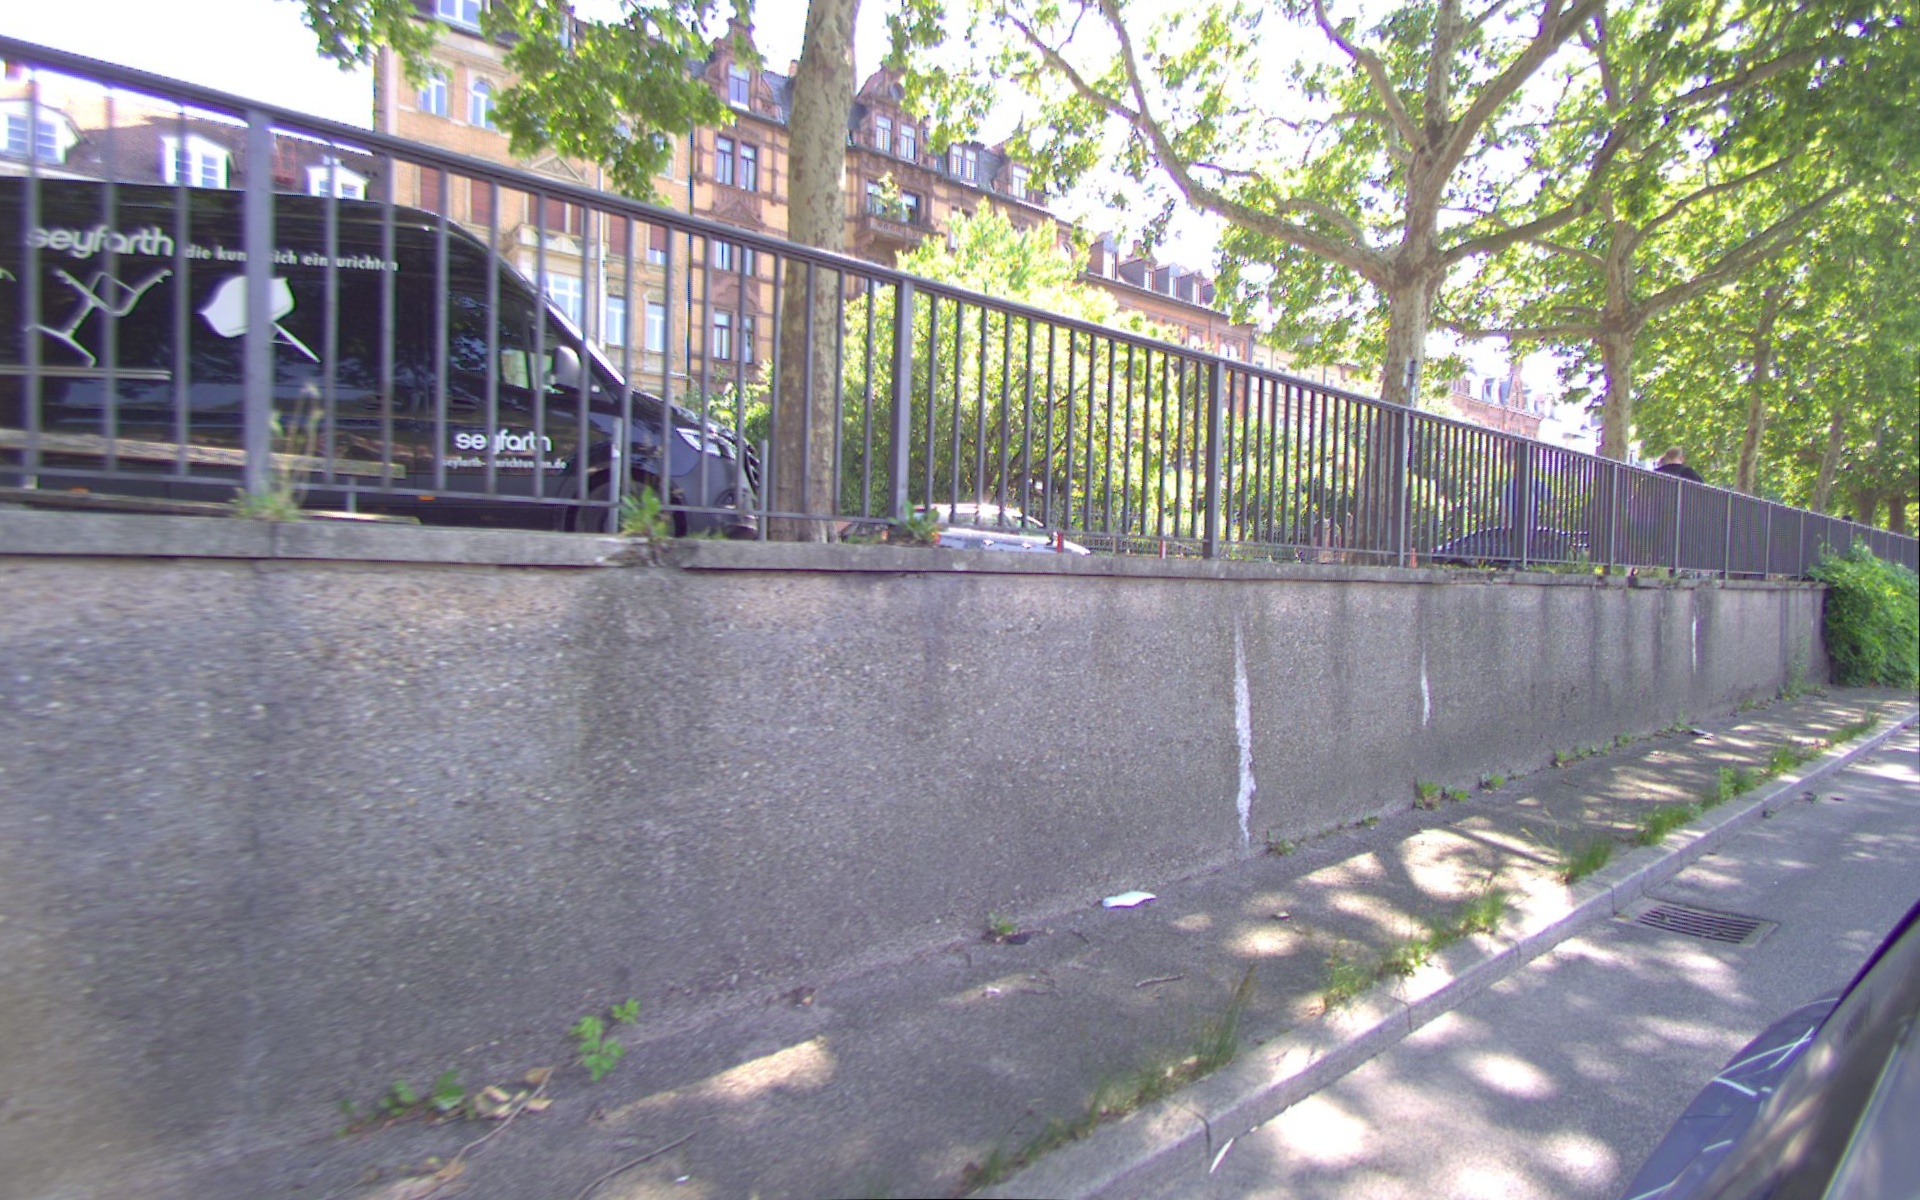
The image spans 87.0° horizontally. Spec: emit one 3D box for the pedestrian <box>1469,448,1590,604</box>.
[{"bbox_3d":[5.583,-0.708,9.924,0.933,1.442,0.682,0,4,-41],"label":"pedestrian"}]

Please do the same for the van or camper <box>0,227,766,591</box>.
[{"bbox_3d":[-5.161,-1.252,7.685,7.205,2.212,2.349,-1,0,-11],"label":"van or camper"}]

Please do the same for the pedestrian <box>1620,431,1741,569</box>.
[{"bbox_3d":[8.943,-1.223,12.571,1.010,1.598,0.938,0,4,-42],"label":"pedestrian"}]

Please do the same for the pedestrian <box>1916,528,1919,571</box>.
[{"bbox_3d":[32.972,-1.705,34.426,0.584,1.437,0.580,2,2,42],"label":"pedestrian"}]

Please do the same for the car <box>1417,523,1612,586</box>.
[{"bbox_3d":[12.363,-1.060,22.771,1.484,1.250,3.541,1,4,-30],"label":"car"}]

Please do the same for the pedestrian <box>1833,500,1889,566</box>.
[{"bbox_3d":[19.596,-1.450,22.018,0.800,1.382,0.754,0,4,-42],"label":"pedestrian"}]

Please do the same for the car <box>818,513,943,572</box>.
[{"bbox_3d":[-2.384,-1.630,29.542,1.759,1.556,3.793,1,1,-40],"label":"car"}]

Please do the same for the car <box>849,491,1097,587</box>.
[{"bbox_3d":[0.308,-1.070,18.653,4.348,1.531,1.842,0,3,-38],"label":"car"}]

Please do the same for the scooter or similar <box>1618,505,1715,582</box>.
[{"bbox_3d":[10.162,-0.817,14.556,1.088,1.038,0.857,0,4,-41],"label":"scooter or similar"}]

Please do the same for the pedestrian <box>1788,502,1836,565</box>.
[{"bbox_3d":[19.319,-1.511,22.951,0.781,1.382,0.645,0,4,-42],"label":"pedestrian"}]

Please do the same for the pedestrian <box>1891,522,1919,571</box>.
[{"bbox_3d":[32.485,-1.830,34.786,0.646,1.660,0.617,2,2,42],"label":"pedestrian"}]

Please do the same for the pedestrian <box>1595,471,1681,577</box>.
[{"bbox_3d":[9.371,-1.040,13.987,0.972,1.382,0.682,0,4,-41],"label":"pedestrian"}]
